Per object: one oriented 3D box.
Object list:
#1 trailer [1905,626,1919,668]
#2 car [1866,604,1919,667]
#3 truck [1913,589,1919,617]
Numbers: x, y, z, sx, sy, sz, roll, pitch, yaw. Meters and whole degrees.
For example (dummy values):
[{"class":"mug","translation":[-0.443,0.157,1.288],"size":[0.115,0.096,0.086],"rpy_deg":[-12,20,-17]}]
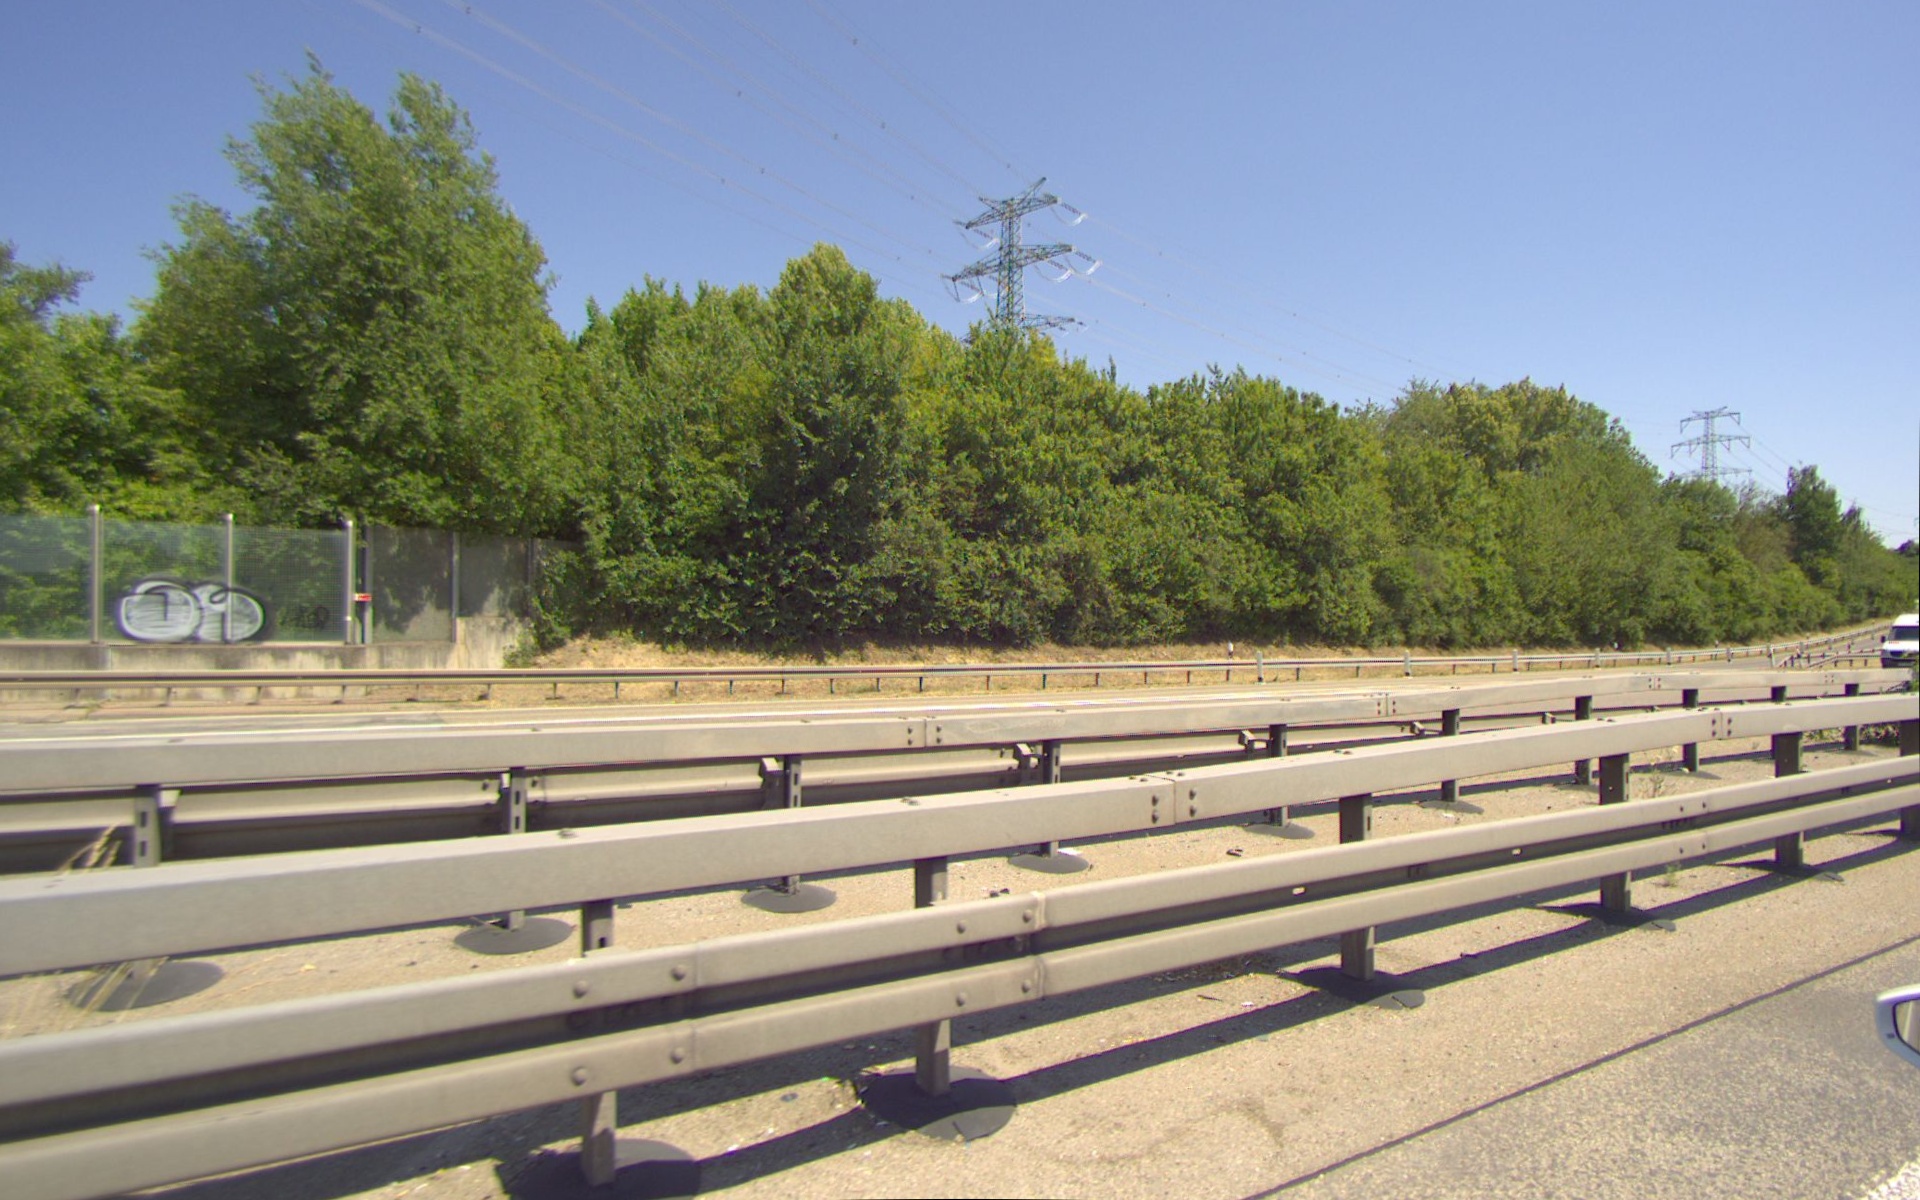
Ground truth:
[{"class":"trailer","translation":[48.164,2.224,48.069],"size":[6.652,1.971,2.749],"rpy_deg":[1,-3,-33]},{"class":"car","translation":[42.885,1.583,44.731],"size":[5.935,2.674,2.099],"rpy_deg":[1,-2,-31]},{"class":"truck","translation":[145.220,0.555,150.729],"size":[11.706,4.061,2.525],"rpy_deg":[1,1,-43]}]
